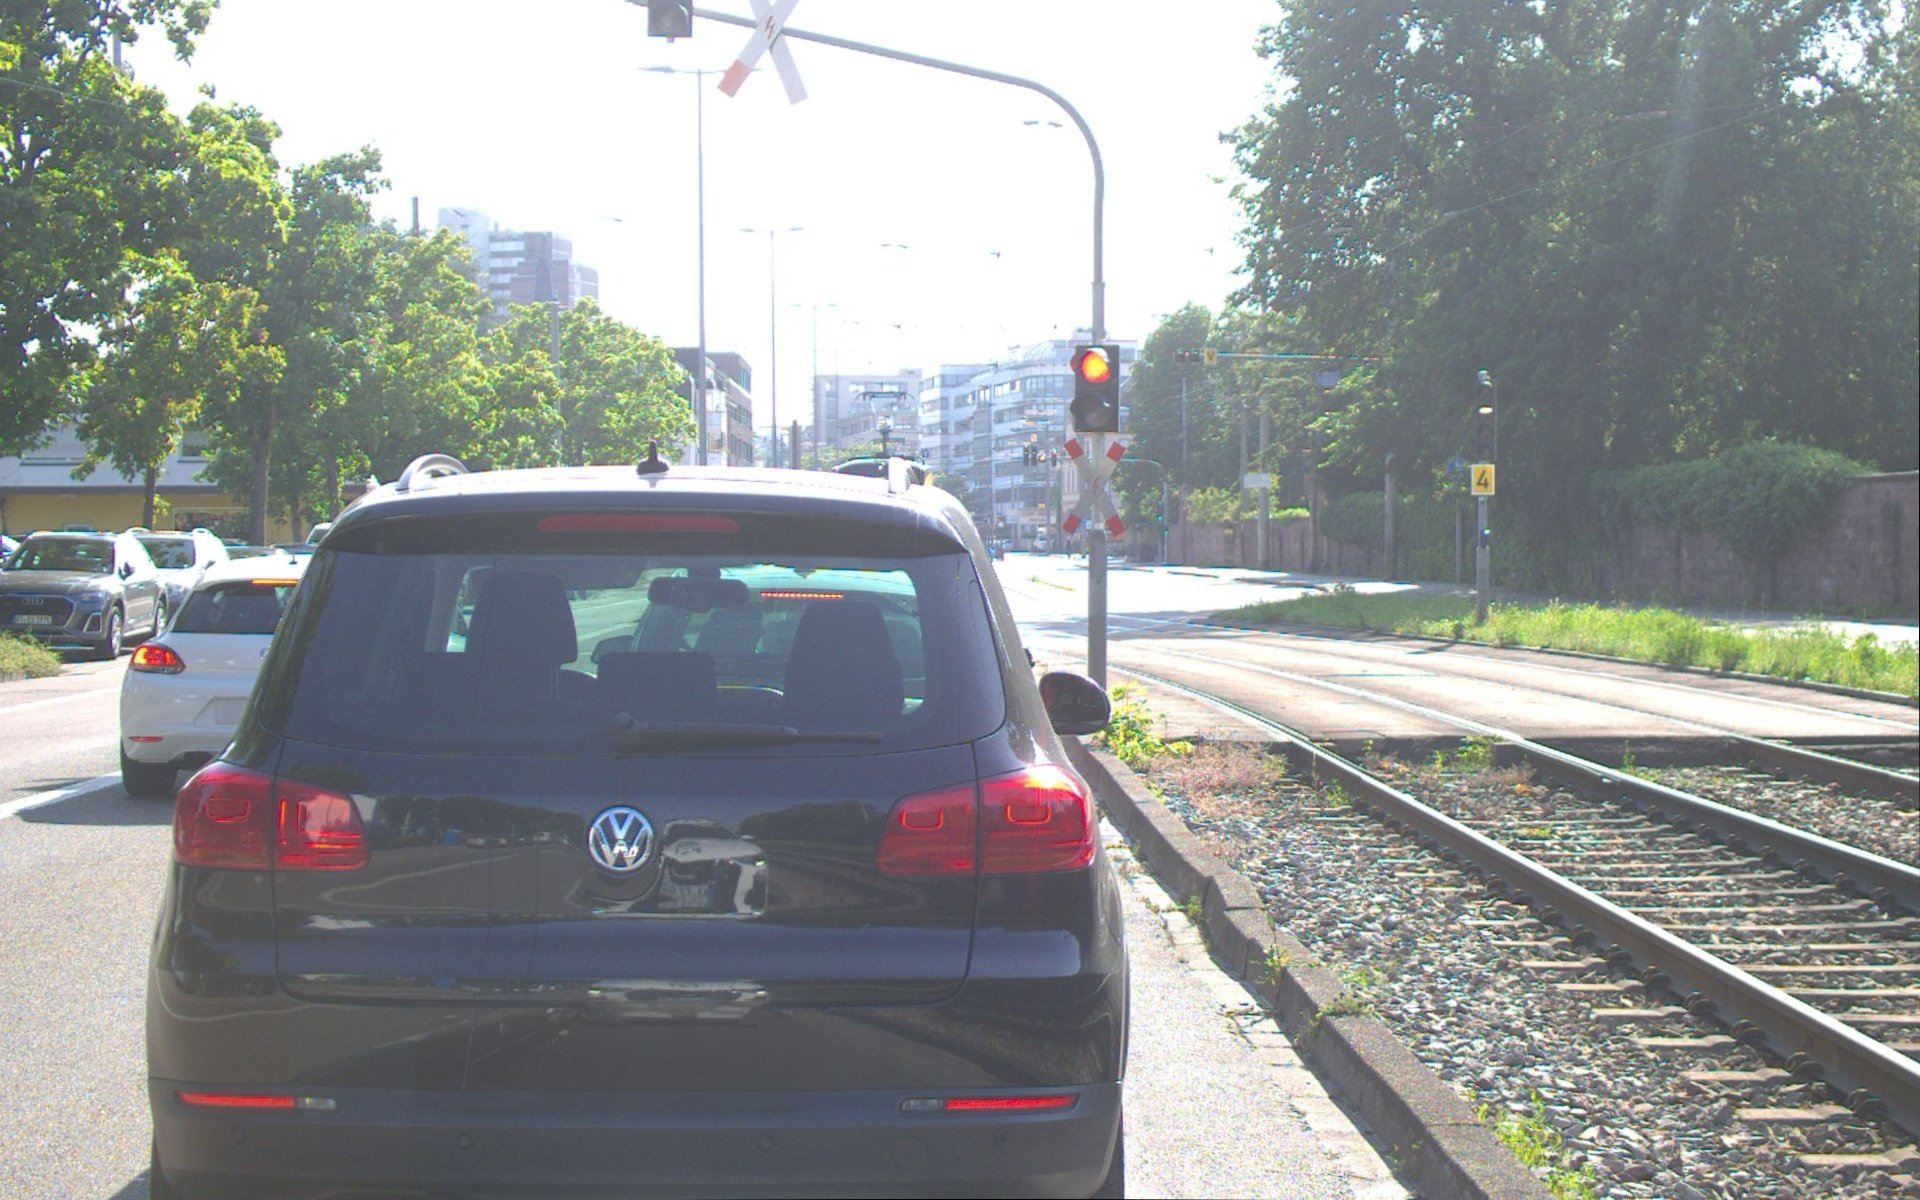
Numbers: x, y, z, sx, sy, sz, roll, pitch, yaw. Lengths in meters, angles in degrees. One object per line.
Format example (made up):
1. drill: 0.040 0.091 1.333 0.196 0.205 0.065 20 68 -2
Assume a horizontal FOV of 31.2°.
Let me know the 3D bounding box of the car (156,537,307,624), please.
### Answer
1. car: -12.418 -0.356 58.777 1.732 1.384 3.735 0 2 1

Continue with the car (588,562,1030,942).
1. car: -0.596 0.558 15.099 1.669 1.382 4.000 -1 1 -1

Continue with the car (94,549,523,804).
1. car: -3.798 0.387 20.694 1.864 1.343 4.000 0 1 -1

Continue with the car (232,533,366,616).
1. car: -12.395 -0.503 64.659 1.732 1.445 3.735 0 2 1

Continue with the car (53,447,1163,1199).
1. car: -0.603 0.545 7.651 1.811 1.639 4.000 1 1 -1

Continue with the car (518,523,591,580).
1. car: -12.525 -1.528 106.348 1.732 1.689 4.000 0 2 1

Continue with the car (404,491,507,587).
1. car: -12.212 -1.489 83.469 1.732 2.261 4.645 -1 1 1

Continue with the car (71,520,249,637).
1. car: -12.185 -0.364 52.575 1.732 1.689 4.000 0 2 1

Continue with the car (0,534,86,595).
1. car: -22.707 -0.836 80.653 3.986 1.392 1.738 -1 1 -4

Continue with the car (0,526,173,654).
1. car: -12.097 -0.174 46.952 1.732 1.652 4.000 -1 1 1

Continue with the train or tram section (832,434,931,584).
1. train or tram section: -1.933 -2.275 86.475 2.326 3.558 8.901 -1 1 -1

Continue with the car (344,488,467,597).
1. car: -12.322 -1.302 76.642 1.863 2.339 4.985 -1 1 1

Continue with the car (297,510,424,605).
1. car: -12.157 -0.890 69.973 1.732 1.853 4.489 -1 1 1
